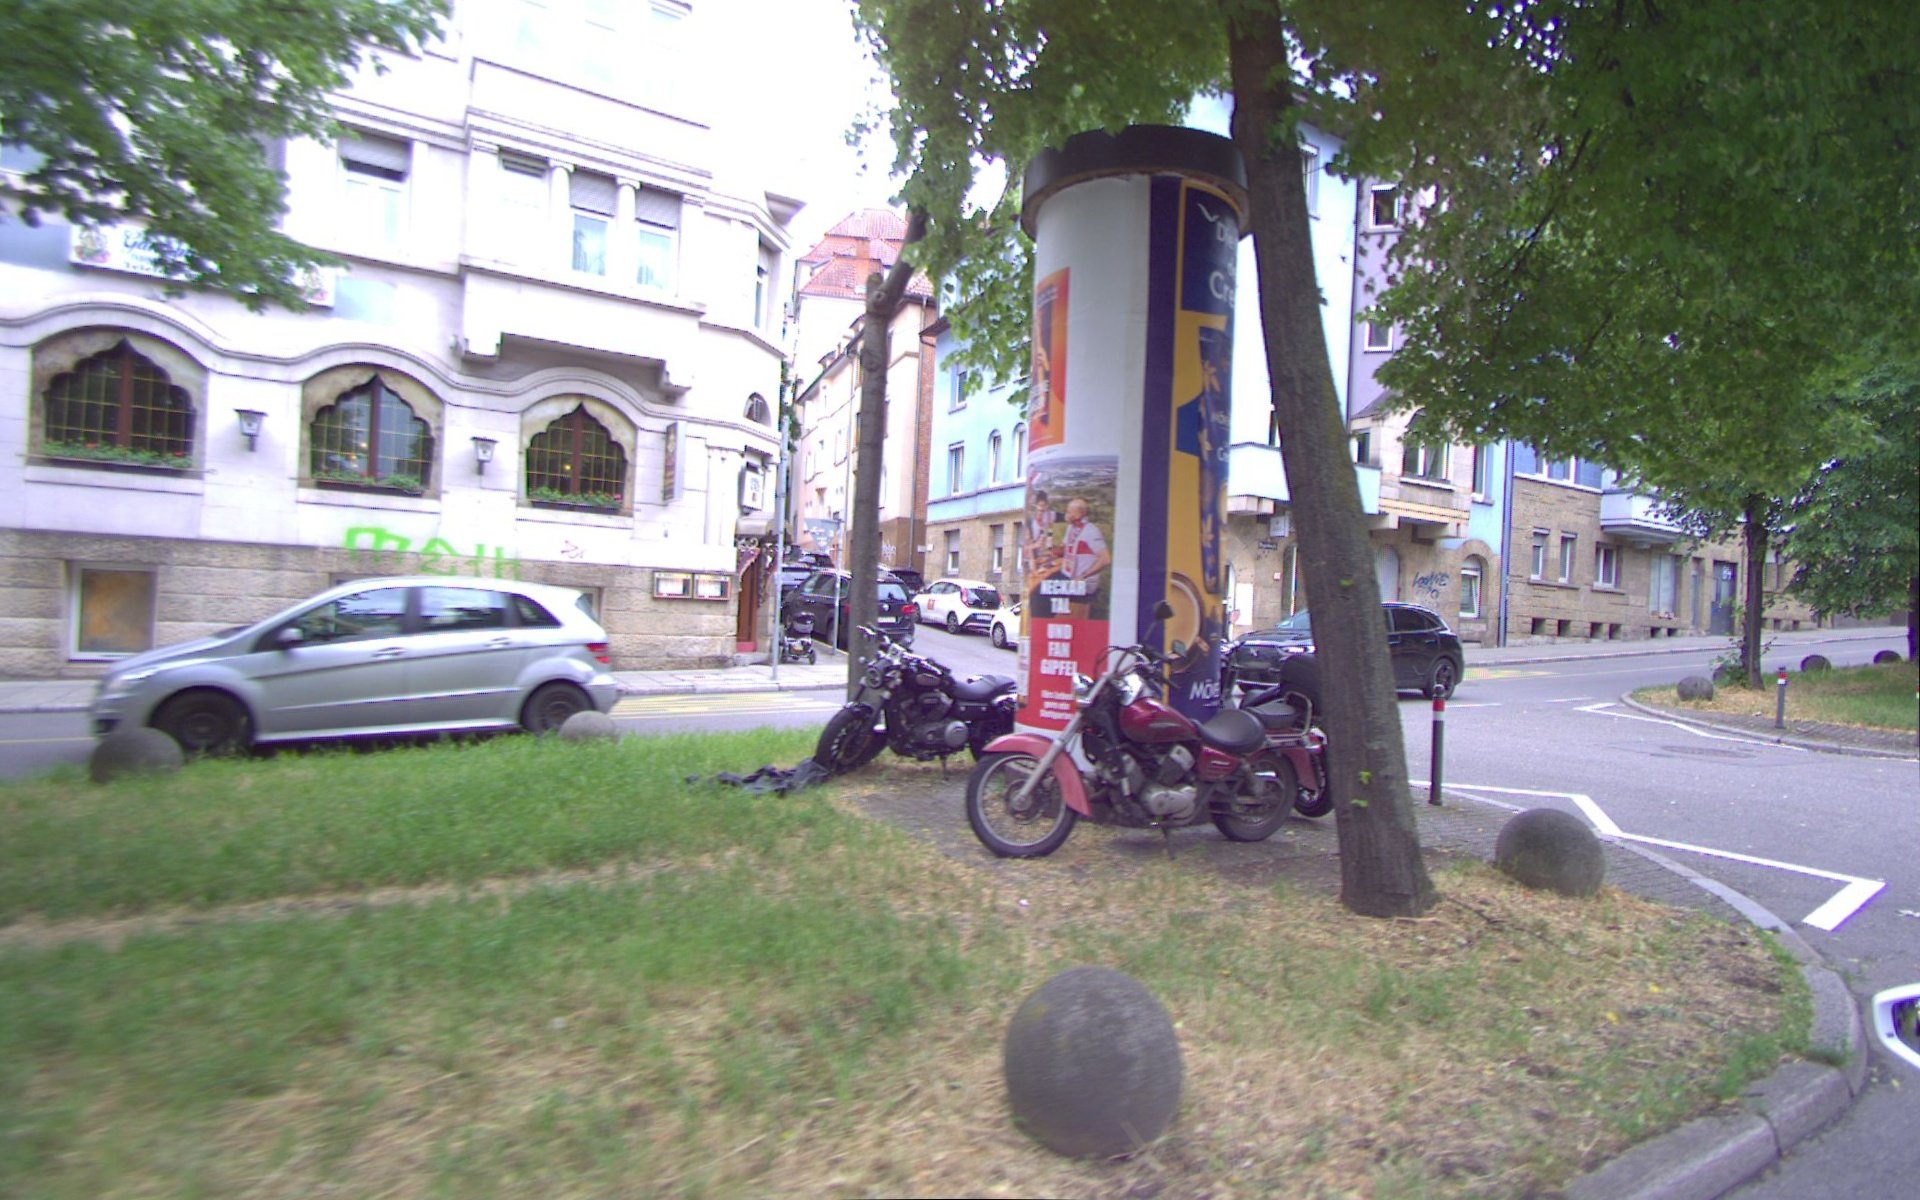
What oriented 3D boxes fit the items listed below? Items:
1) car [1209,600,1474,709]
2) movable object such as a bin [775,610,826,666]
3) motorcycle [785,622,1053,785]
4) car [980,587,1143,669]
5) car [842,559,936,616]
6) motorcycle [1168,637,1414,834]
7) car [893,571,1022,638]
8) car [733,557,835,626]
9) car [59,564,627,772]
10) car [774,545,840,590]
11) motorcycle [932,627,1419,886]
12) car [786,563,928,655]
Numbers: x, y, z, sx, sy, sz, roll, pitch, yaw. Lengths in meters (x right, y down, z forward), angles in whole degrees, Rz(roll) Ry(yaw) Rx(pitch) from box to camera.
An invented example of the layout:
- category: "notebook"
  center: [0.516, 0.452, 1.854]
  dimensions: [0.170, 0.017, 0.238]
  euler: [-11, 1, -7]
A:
- category: "car"
  center: [6.366, 0.825, 16.656]
  dimensions: [4.365, 1.584, 1.804]
  euler: [1, 0, -31]
- category: "movable object such as a bin"
  center: [-3.088, 0.723, 19.362]
  dimensions: [0.661, 1.007, 0.880]
  euler: [1, 3, -32]
- category: "motorcycle"
  center: [-0.307, 0.765, 7.569]
  dimensions: [1.825, 1.087, 0.747]
  euler: [3, 0, -24]
- category: "car"
  center: [2.399, 0.631, 24.676]
  dimensions: [1.851, 1.489, 3.973]
  euler: [1, 5, -32]
- category: "car"
  center: [-2.467, -0.450, 34.029]
  dimensions: [1.776, 1.531, 3.973]
  euler: [2, 5, -26]
- category: "motorcycle"
  center: [2.245, 0.874, 7.055]
  dimensions: [0.544, 1.111, 1.725]
  euler: [3, 0, -26]
- category: "car"
  center: [-0.161, 0.100, 29.430]
  dimensions: [1.944, 1.489, 4.120]
  euler: [2, 5, -30]
- category: "car"
  center: [-5.070, -0.277, 28.520]
  dimensions: [1.777, 1.531, 3.972]
  euler: [2, 5, -26]
- category: "car"
  center: [-5.527, 0.537, 9.526]
  dimensions: [4.207, 1.584, 1.804]
  euler: [1, 0, -32]
- category: "car"
  center: [-6.549, -1.405, 42.619]
  dimensions: [1.775, 1.531, 3.977]
  euler: [2, 5, -23]
- category: "motorcycle"
  center: [1.171, 0.774, 5.358]
  dimensions: [2.447, 1.110, 0.884]
  euler: [3, 0, -24]
- category: "car"
  center: [-2.541, 0.164, 23.831]
  dimensions: [1.849, 1.723, 3.978]
  euler: [2, 5, -29]
